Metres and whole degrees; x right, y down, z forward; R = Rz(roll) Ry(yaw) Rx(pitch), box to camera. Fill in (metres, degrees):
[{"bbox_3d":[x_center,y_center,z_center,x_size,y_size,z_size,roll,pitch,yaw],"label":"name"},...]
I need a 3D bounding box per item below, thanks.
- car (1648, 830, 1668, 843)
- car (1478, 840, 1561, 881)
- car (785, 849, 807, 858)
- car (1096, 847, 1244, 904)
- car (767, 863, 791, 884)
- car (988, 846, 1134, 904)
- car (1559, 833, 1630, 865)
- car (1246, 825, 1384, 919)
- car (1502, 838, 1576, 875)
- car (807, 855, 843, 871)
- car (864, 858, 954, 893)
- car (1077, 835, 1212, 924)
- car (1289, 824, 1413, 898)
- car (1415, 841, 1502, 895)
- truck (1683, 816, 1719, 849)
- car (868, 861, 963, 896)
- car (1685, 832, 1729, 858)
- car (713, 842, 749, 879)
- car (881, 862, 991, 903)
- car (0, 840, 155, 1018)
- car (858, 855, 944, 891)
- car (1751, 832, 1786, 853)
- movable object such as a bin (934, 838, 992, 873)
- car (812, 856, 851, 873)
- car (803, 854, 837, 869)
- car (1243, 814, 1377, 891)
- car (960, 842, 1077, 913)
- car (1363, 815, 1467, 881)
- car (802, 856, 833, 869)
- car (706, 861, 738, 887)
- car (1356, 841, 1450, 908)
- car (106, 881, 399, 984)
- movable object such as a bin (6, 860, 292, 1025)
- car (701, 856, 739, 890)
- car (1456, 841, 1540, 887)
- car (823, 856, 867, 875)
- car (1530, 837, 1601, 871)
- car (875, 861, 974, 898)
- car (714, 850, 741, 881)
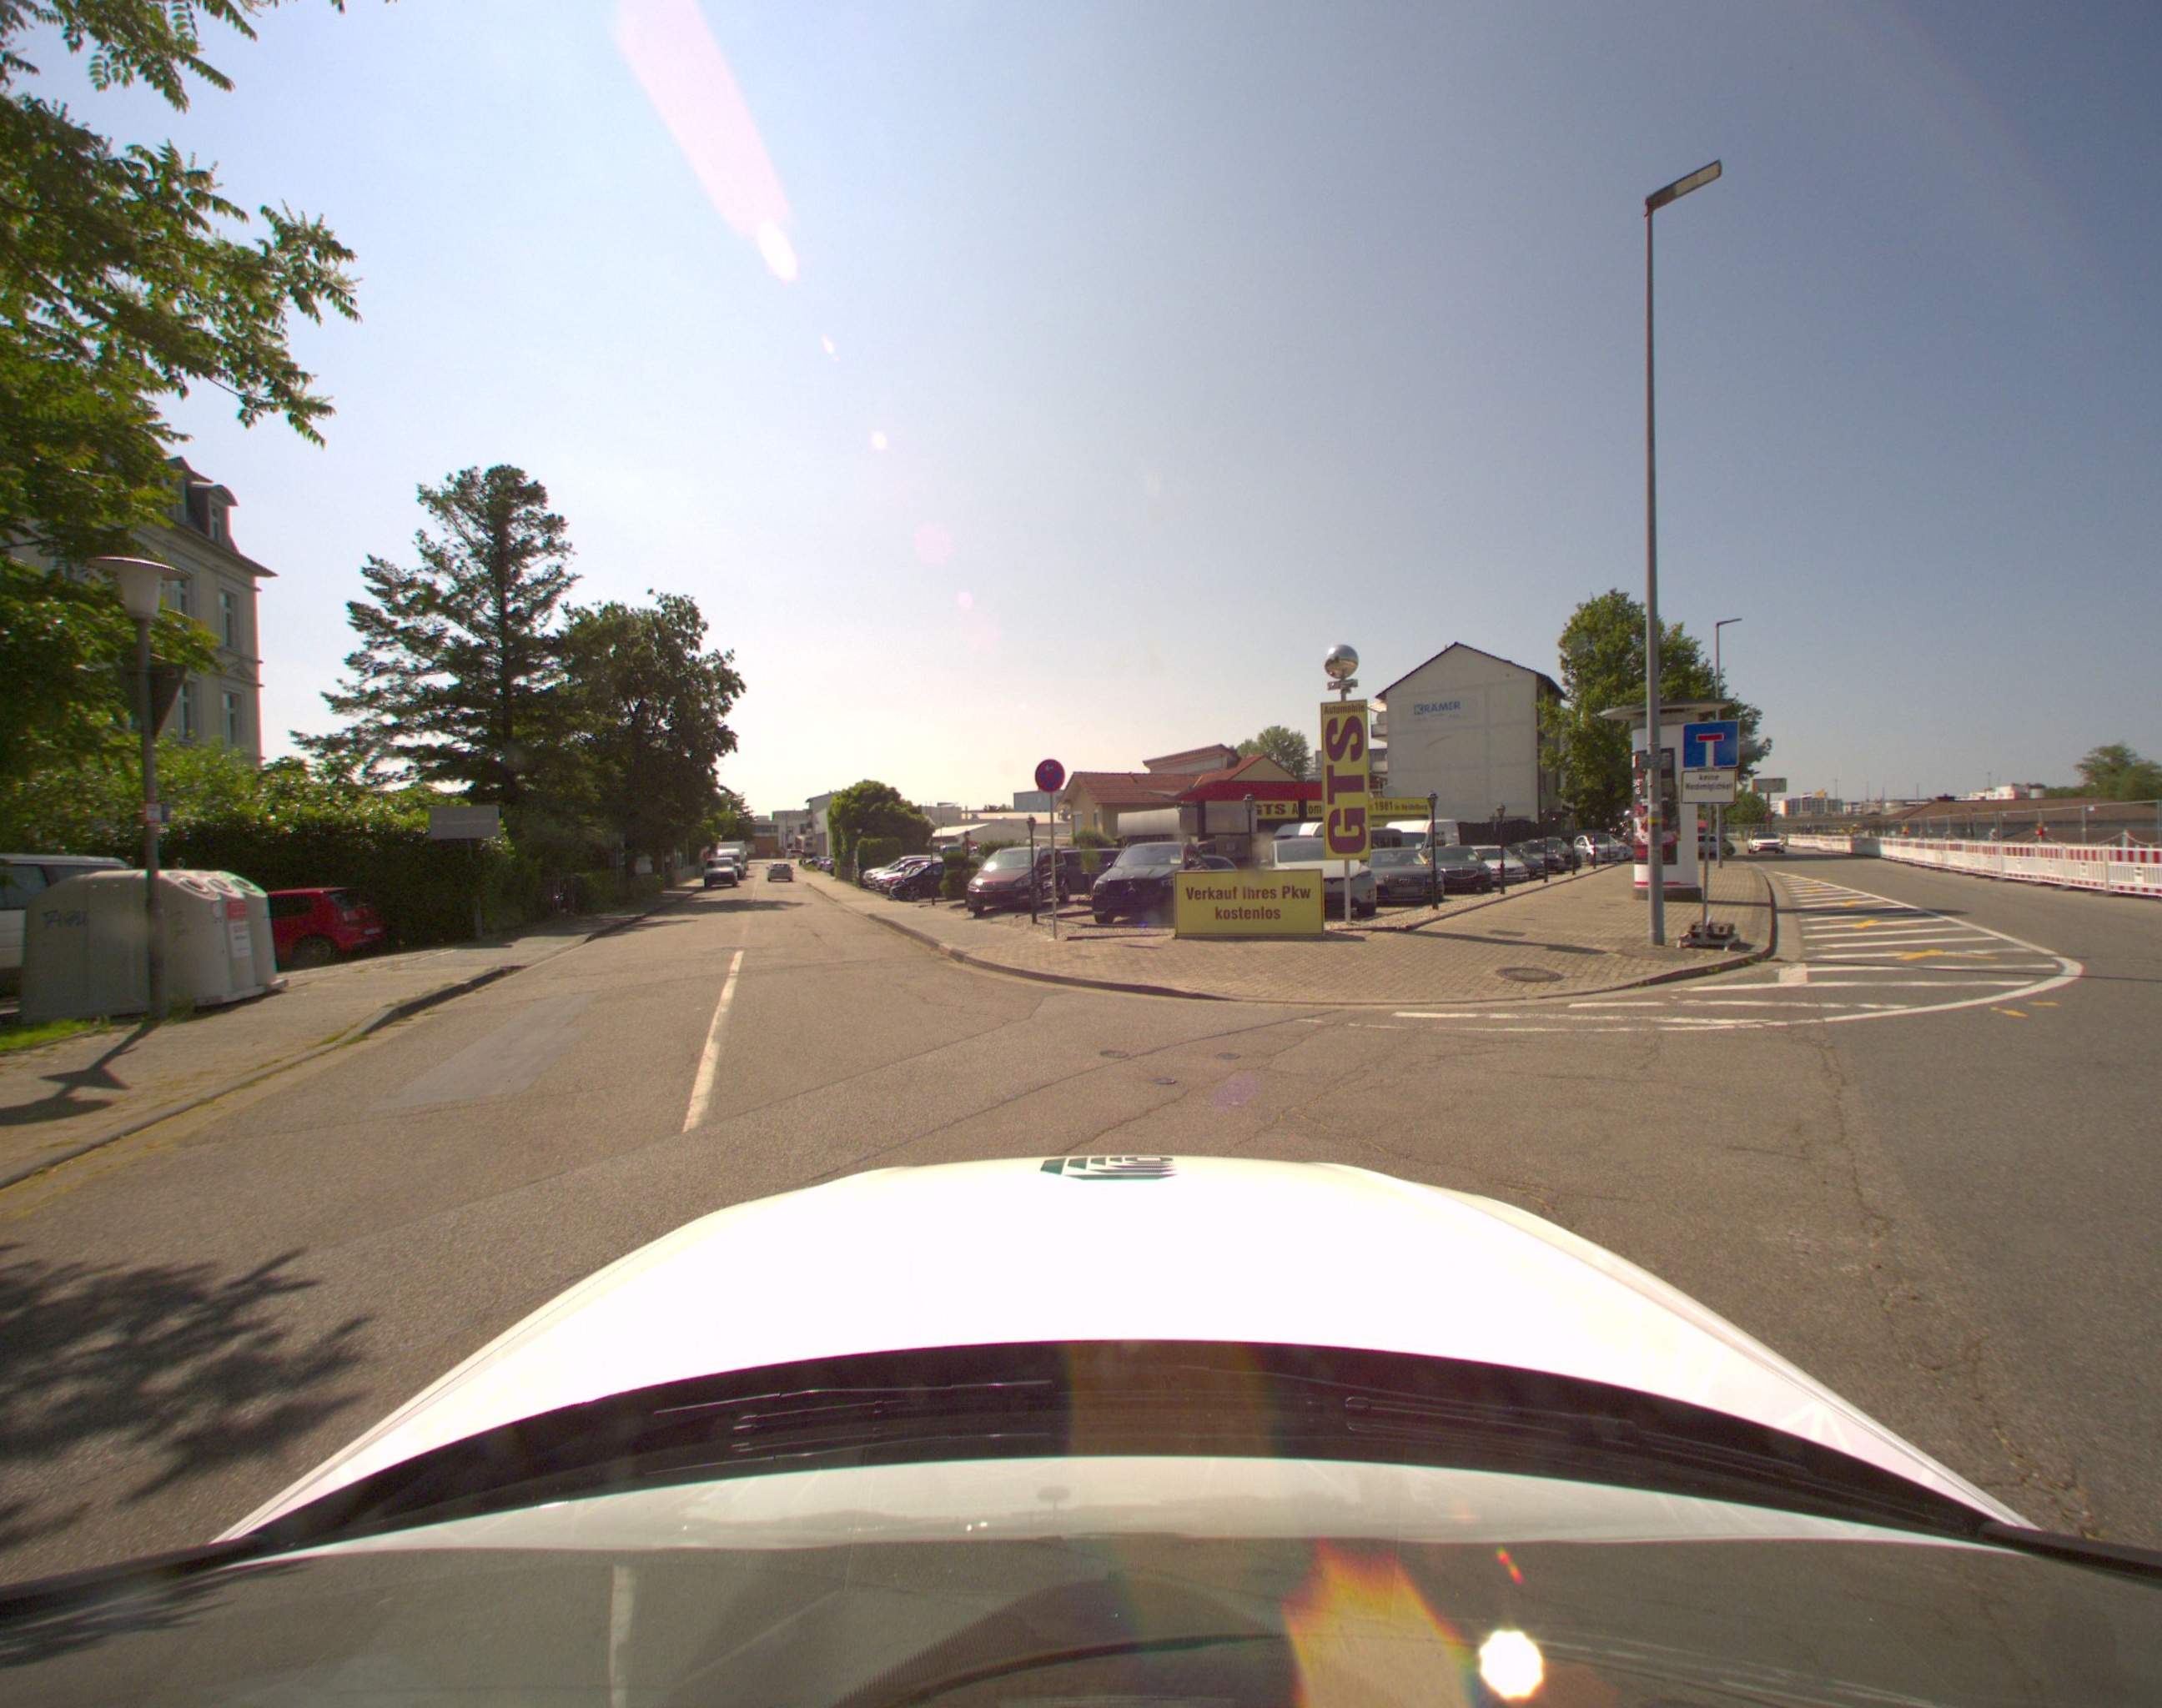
[{"bbox_3d":[82.644,-2.520,116.585,1.919,1.833,3.948,4,3,41],"label":"car"},{"bbox_3d":[17.666,0.268,33.029,1.657,1.473,4.010,-3,-1,9],"label":"car"},{"bbox_3d":[-57.354,-0.107,163.920,4.010,1.909,1.798,-1,1,-29],"label":"car"},{"bbox_3d":[2.911,0.642,26.119,4.709,1.575,1.893,-2,0,-38],"label":"car"},{"bbox_3d":[-23.515,1.479,63.342,1.683,1.493,4.574,-1,0,-21],"label":"car"},{"bbox_3d":[-0.647,0.711,28.422,4.858,1.842,2.164,-1,0,1],"label":"car"},{"bbox_3d":[26.579,-0.231,42.284,1.764,1.473,4.013,-3,-1,11],"label":"car"},{"bbox_3d":[4.857,0.443,17.646,1.966,1.707,4.669,-2,-3,5],"label":"car"},{"bbox_3d":[20.529,0.113,36.677,1.656,1.473,4.013,-3,-1,11],"label":"car"},{"bbox_3d":[-29.127,1.016,92.532,3.843,1.763,1.770,-1,0,-21],"label":"car"},{"bbox_3d":[-8.678,1.053,41.179,4.131,1.603,1.855,-1,0,-24],"label":"car"},{"bbox_3d":[1.543,0.549,18.026,2.026,1.707,4.334,-2,-2,17],"label":"car"},{"bbox_3d":[9.511,0.242,28.438,2.225,2.350,4.852,-2,-1,43],"label":"car"},{"bbox_3d":[11.657,0.411,25.404,1.822,1.473,4.017,-4,-1,16],"label":"car"},{"bbox_3d":[51.307,-1.722,67.412,2.216,2.648,5.718,-1,0,37],"label":"truck"},{"bbox_3d":[-7.885,1.132,38.755,4.125,1.489,1.855,-1,0,-24],"label":"car"},{"bbox_3d":[39.709,-0.601,51.649,1.851,1.498,4.057,-2,1,42],"label":"car"},{"bbox_3d":[-33.545,0.590,78.175,2.817,3.317,7.726,-1,0,-21],"label":"car"},{"bbox_3d":[-5.990,1.138,33.622,4.139,1.489,1.855,-1,0,-24],"label":"car"},{"bbox_3d":[-12.498,0.845,8.153,1.888,1.920,4.505,-4,-2,-12],"label":"car"},{"bbox_3d":[-9.622,1.009,43.525,4.178,1.750,1.877,-1,0,-24],"label":"car"},{"bbox_3d":[48.543,-0.795,57.556,1.700,1.415,4.104,-1,0,37],"label":"car"},{"bbox_3d":[-10.540,0.116,72.870,4.832,2.907,1.987,-1,0,-19],"label":"movable object such as a bin"},{"bbox_3d":[-26.592,1.129,86.865,3.843,1.763,1.843,-1,0,-21],"label":"car"},{"bbox_3d":[-32.200,0.954,100.440,3.843,1.763,1.770,-1,0,-21],"label":"car"},{"bbox_3d":[9.182,-0.052,32.240,6.188,2.758,2.256,-1,-1,-44],"label":"car"},{"bbox_3d":[-1.559,0.573,22.024,1.791,1.656,4.332,-2,0,14],"label":"car"},{"bbox_3d":[13.773,-0.252,33.372,2.225,2.429,5.754,3,2,40],"label":"car"},{"bbox_3d":[-35.602,1.162,109.937,3.875,1.763,1.811,-1,0,-21],"label":"car"},{"bbox_3d":[-25.372,1.404,57.685,1.839,1.692,3.971,-1,0,-21],"label":"car"},{"bbox_3d":[8.229,0.501,21.122,1.822,1.473,4.017,-4,-1,16],"label":"car"},{"bbox_3d":[-15.488,1.412,15.461,3.406,1.465,1.683,-4,1,-18],"label":"car"},{"bbox_3d":[-10.324,0.910,9.189,1.458,1.526,1.761,-4,0,-25],"label":"movable object such as a bin"},{"bbox_3d":[-23.577,1.228,53.307,2.042,2.056,3.971,-1,-1,-21],"label":"car"},{"bbox_3d":[15.173,0.370,29.830,1.767,1.473,4.015,-4,-1,14],"label":"car"},{"bbox_3d":[-22.057,1.043,76.152,3.843,1.763,1.843,-1,0,-21],"label":"car"},{"bbox_3d":[23.704,0.002,40.003,1.656,1.473,4.013,-4,-1,11],"label":"car"},{"bbox_3d":[-7.029,1.106,36.573,4.064,1.489,1.784,-1,0,-24],"label":"car"},{"bbox_3d":[-29.319,0.938,67.615,1.839,2.504,3.971,-1,0,-21],"label":"car"}]
